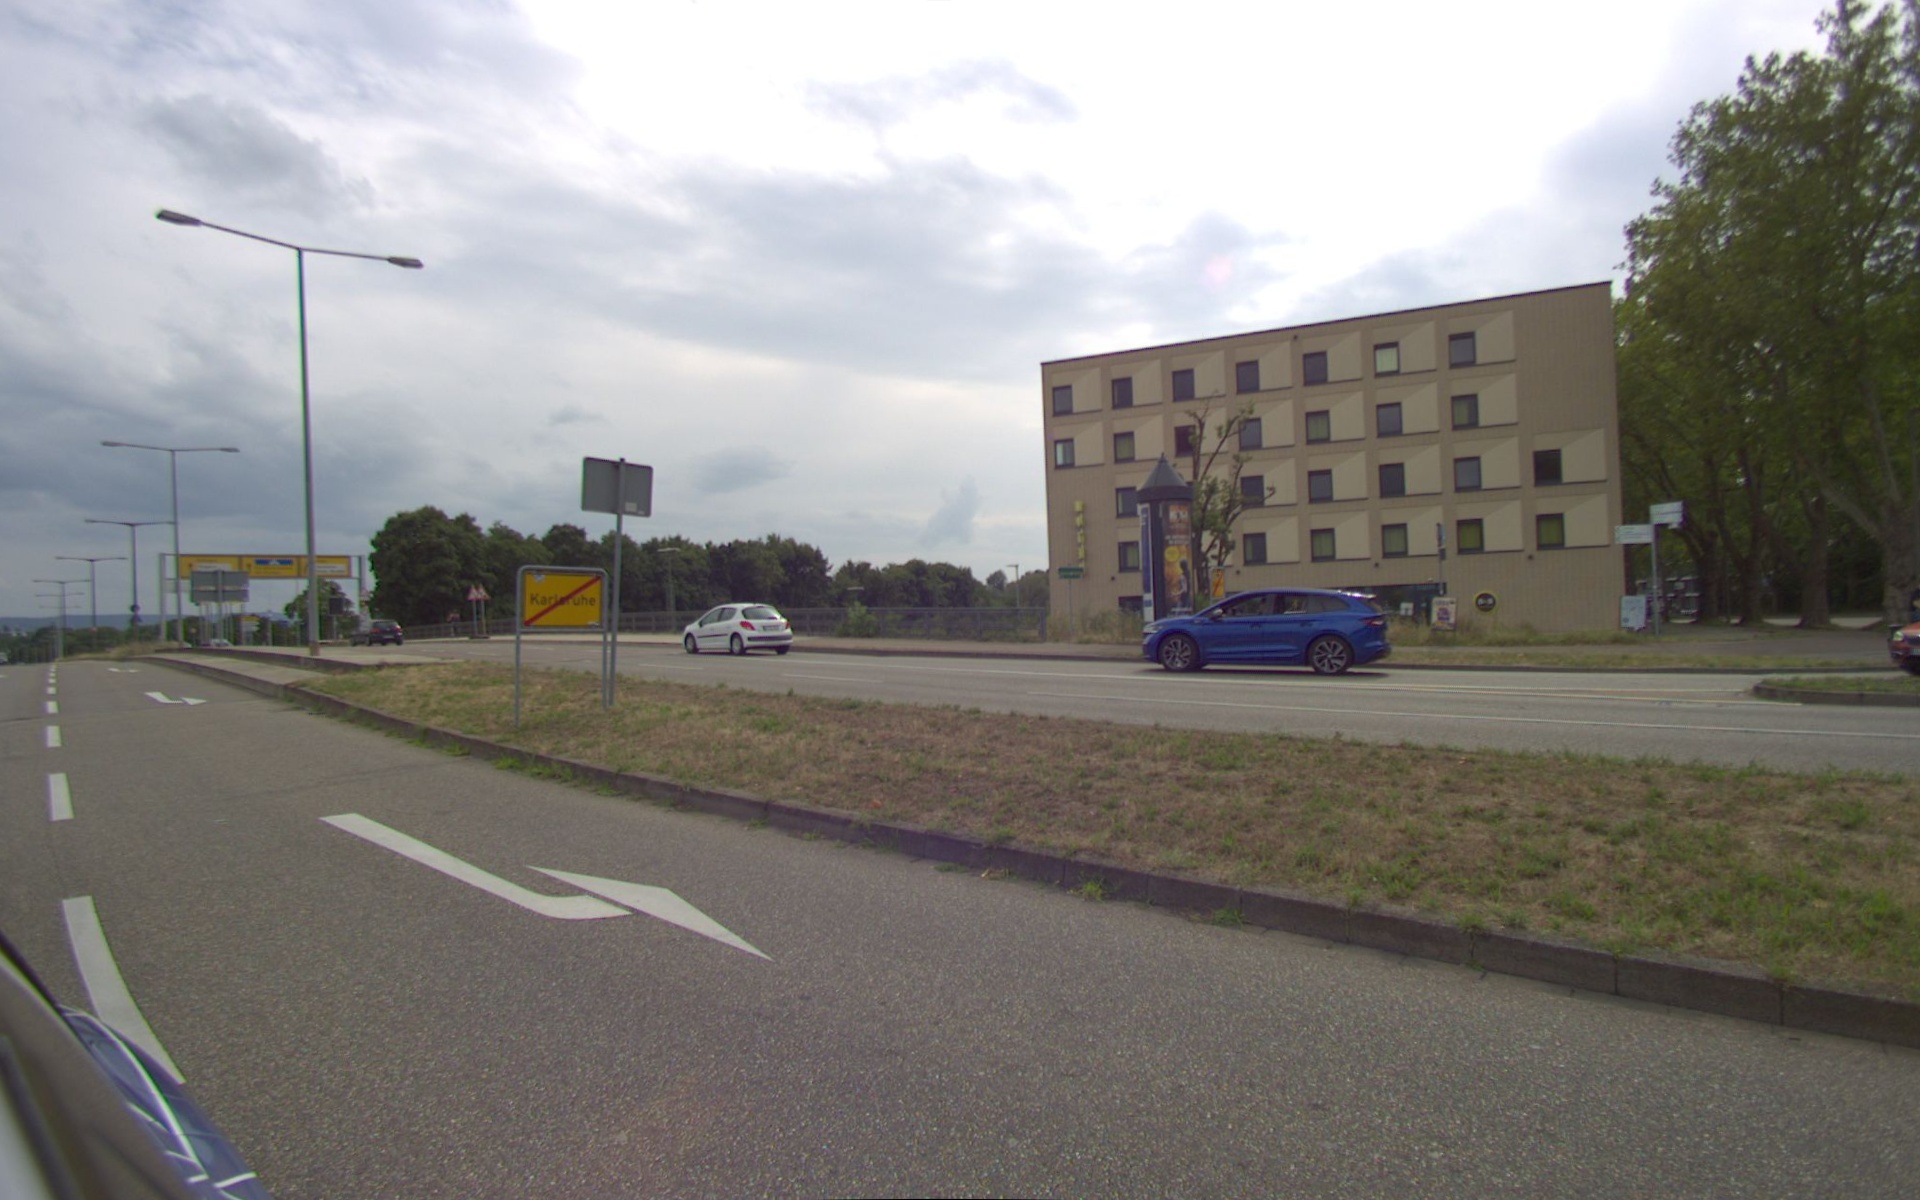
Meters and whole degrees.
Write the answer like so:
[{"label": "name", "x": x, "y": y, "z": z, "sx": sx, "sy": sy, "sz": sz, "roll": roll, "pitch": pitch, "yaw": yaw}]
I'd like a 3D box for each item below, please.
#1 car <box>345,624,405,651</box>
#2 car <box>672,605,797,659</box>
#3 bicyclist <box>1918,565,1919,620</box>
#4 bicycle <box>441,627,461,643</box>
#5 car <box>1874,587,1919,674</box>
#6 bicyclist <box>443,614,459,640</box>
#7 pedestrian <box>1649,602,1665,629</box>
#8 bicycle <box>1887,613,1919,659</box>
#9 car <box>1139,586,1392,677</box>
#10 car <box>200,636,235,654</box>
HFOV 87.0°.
[{"label": "car", "x": -32.162, "y": 2.045, "z": 55.612, "sx": 4.000, "sy": 1.429, "sz": 1.773, "roll": -2, "pitch": -1, "yaw": 43}, {"label": "car", "x": -6.651, "y": 0.901, "z": 29.674, "sx": 3.877, "sy": 1.456, "sz": 1.707, "roll": -1, "pitch": 0, "yaw": 43}, {"label": "bicyclist", "x": 20.098, "y": 0.076, "z": 20.366, "sx": 0.729, "sy": 1.627, "sz": 0.923, "roll": -1, "pitch": -1, "yaw": -21}, {"label": "bicycle", "x": -33.466, "y": 2.300, "z": 66.529, "sx": 0.676, "sy": 1.061, "sz": 1.997, "roll": -1, "pitch": -1, "yaw": -42}, {"label": "car", "x": 17.555, "y": 0.461, "z": 16.222, "sx": 4.151, "sy": 1.391, "sz": 1.952, "roll": -1, "pitch": 0, "yaw": -5}, {"label": "bicyclist", "x": -33.455, "y": 1.756, "z": 66.494, "sx": 0.676, "sy": 1.684, "sz": 0.848, "roll": -1, "pitch": -1, "yaw": -42}, {"label": "pedestrian", "x": 29.709, "y": 0.643, "z": 43.151, "sx": 0.500, "sy": 1.133, "sz": 0.458, "roll": -2, "pitch": -1, "yaw": 30}, {"label": "bicycle", "x": 20.130, "y": 0.728, "z": 20.307, "sx": 0.729, "sy": 0.916, "sz": 2.126, "roll": -1, "pitch": -1, "yaw": -21}, {"label": "car", "x": 5.851, "y": 0.583, "z": 19.424, "sx": 4.434, "sy": 1.572, "sz": 1.935, "roll": -1, "pitch": 0, "yaw": 23}, {"label": "car", "x": -65.101, "y": 3.949, "z": 88.694, "sx": 1.800, "sy": 1.457, "sz": 4.355, "roll": -1, "pitch": 0, "yaw": -45}]
